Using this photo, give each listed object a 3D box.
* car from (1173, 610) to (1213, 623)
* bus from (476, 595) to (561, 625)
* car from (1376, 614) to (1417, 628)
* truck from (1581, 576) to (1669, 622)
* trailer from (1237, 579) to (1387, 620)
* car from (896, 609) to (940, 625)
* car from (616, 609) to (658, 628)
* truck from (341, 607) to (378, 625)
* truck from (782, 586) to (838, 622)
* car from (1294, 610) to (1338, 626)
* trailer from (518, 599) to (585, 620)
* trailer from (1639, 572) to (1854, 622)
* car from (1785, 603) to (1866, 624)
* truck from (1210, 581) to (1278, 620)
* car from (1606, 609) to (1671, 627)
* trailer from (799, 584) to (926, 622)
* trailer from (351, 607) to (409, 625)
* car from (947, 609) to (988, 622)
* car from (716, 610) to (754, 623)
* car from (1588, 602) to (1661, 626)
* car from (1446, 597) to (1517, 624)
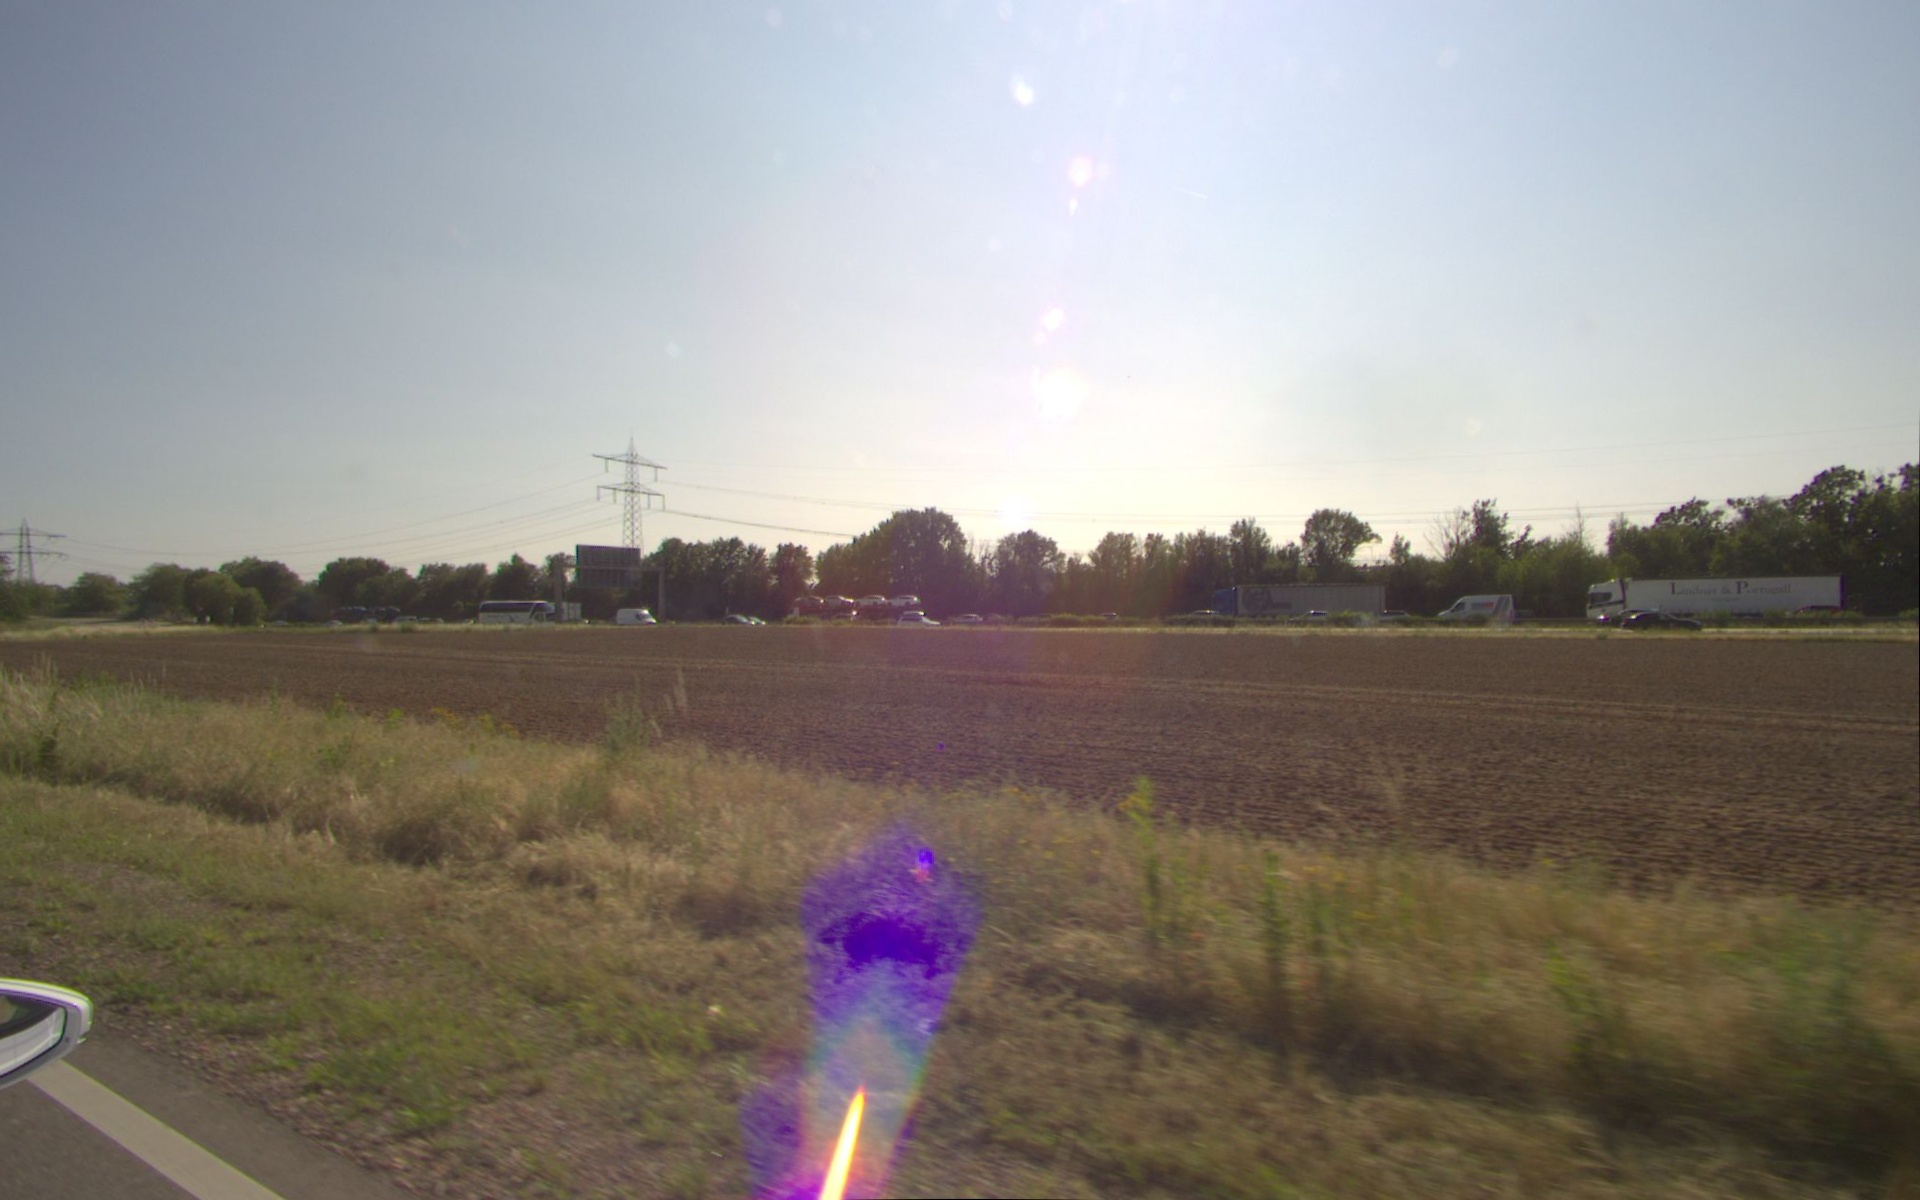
[{"bbox_3d":[22.409,1.602,96.404,3.531,1.166,1.392,0,-1,33],"label":"car"},{"bbox_3d":[-59.214,1.269,134.094,14.328,3.854,2.459,0,0,30],"label":"bus"},{"bbox_3d":[38.047,1.795,87.331,3.135,1.166,1.392,0,-1,32],"label":"car"},{"bbox_3d":[55.576,-0.033,83.875,6.032,3.782,3.065,-1,-1,33],"label":"truck"},{"bbox_3d":[33.957,0.003,97.208,13.440,3.782,3.065,0,-1,34],"label":"trailer"},{"bbox_3d":[-4.156,1.679,99.616,4.137,1.562,1.700,-1,-2,32],"label":"car"},{"bbox_3d":[-40.860,2.381,126.728,5.442,2.402,1.990,-1,-2,32],"label":"car"},{"bbox_3d":[-112.695,2.936,187.924,6.334,3.310,3.279,0,0,31],"label":"truck"},{"bbox_3d":[-19.691,0.550,131.265,6.607,4.512,3.416,-1,0,30],"label":"truck"},{"bbox_3d":[32.420,1.640,91.118,3.551,1.403,1.489,0,-1,32],"label":"car"},{"bbox_3d":[-65.318,1.521,160.056,12.274,3.310,3.278,-1,0,31],"label":"trailer"},{"bbox_3d":[62.025,-0.128,79.595,13.179,3.782,3.065,-1,-1,33],"label":"trailer"},{"bbox_3d":[62.911,0.981,72.833,4.186,1.403,1.848,0,-1,32],"label":"car"},{"bbox_3d":[28.575,0.085,100.812,6.002,3.782,3.065,0,0,34],"label":"truck"},{"bbox_3d":[53.485,1.404,79.036,4.186,1.403,1.848,0,-1,32],"label":"car"},{"bbox_3d":[-12.591,0.429,127.084,17.304,4.511,3.415,-1,0,30],"label":"trailer"},{"bbox_3d":[-106.913,2.917,184.390,13.255,3.310,3.279,0,0,31],"label":"trailer"},{"bbox_3d":[0.790,1.690,110.669,4.186,1.403,1.848,0,-1,32],"label":"car"},{"bbox_3d":[-25.110,1.859,111.838,4.151,1.492,1.700,-1,-2,33],"label":"car"},{"bbox_3d":[45.718,1.006,68.956,4.137,1.562,1.700,-1,-2,32],"label":"car"},{"bbox_3d":[43.737,0.873,83.983,5.162,2.228,1.902,0,-1,32],"label":"car"}]
